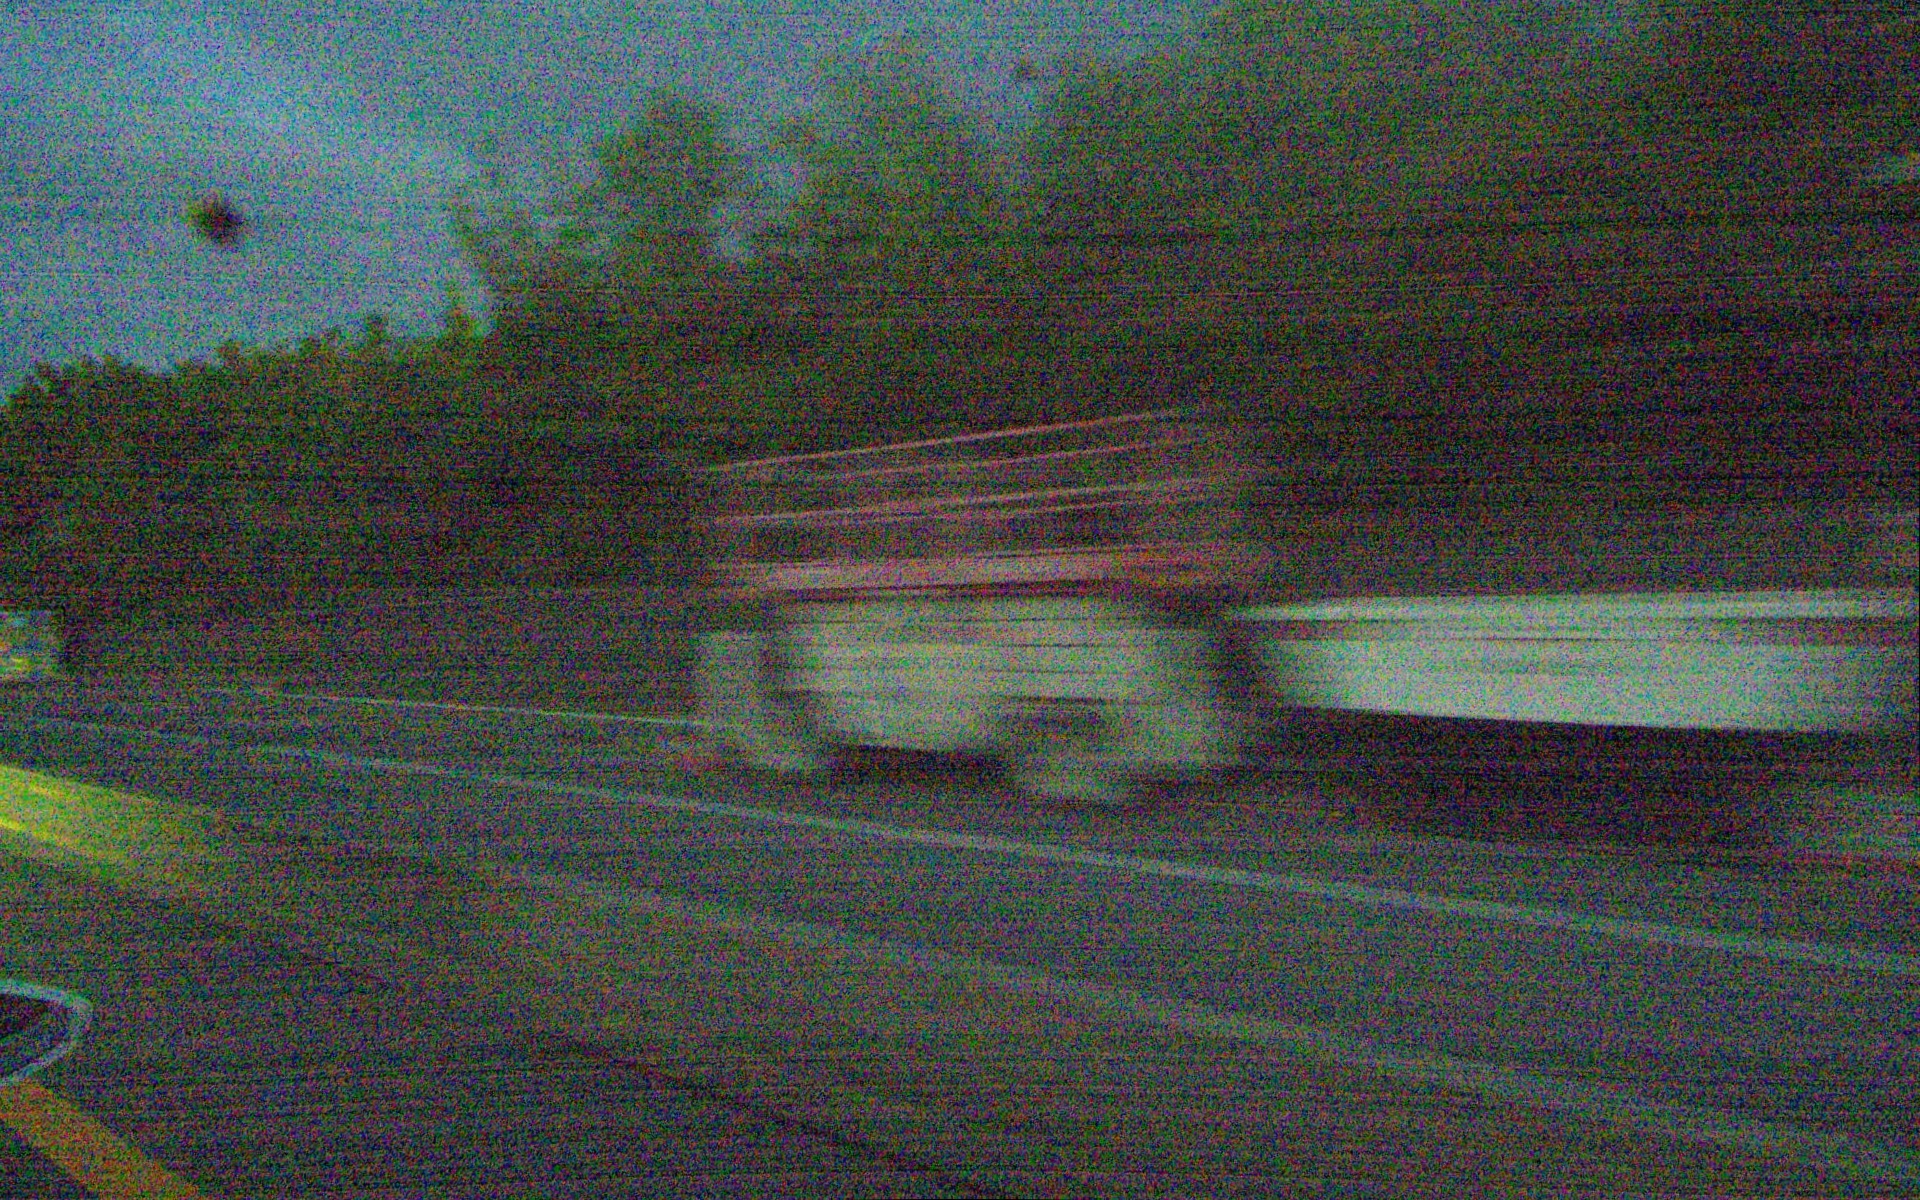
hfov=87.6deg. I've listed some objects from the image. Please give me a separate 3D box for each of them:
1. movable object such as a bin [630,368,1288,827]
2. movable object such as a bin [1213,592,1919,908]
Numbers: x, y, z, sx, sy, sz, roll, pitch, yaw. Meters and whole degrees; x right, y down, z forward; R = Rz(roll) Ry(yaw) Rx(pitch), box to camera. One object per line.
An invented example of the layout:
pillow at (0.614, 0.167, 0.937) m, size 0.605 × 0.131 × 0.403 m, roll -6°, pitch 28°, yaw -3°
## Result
movable object such as a bin at (-0.138, 0.048, 9.496) m, size 5.723 × 3.149 × 2.616 m, roll -1°, pitch 0°, yaw 32°
movable object such as a bin at (4.069, 0.830, 6.992) m, size 4.027 × 1.622 × 1.989 m, roll -2°, pitch 0°, yaw 33°
